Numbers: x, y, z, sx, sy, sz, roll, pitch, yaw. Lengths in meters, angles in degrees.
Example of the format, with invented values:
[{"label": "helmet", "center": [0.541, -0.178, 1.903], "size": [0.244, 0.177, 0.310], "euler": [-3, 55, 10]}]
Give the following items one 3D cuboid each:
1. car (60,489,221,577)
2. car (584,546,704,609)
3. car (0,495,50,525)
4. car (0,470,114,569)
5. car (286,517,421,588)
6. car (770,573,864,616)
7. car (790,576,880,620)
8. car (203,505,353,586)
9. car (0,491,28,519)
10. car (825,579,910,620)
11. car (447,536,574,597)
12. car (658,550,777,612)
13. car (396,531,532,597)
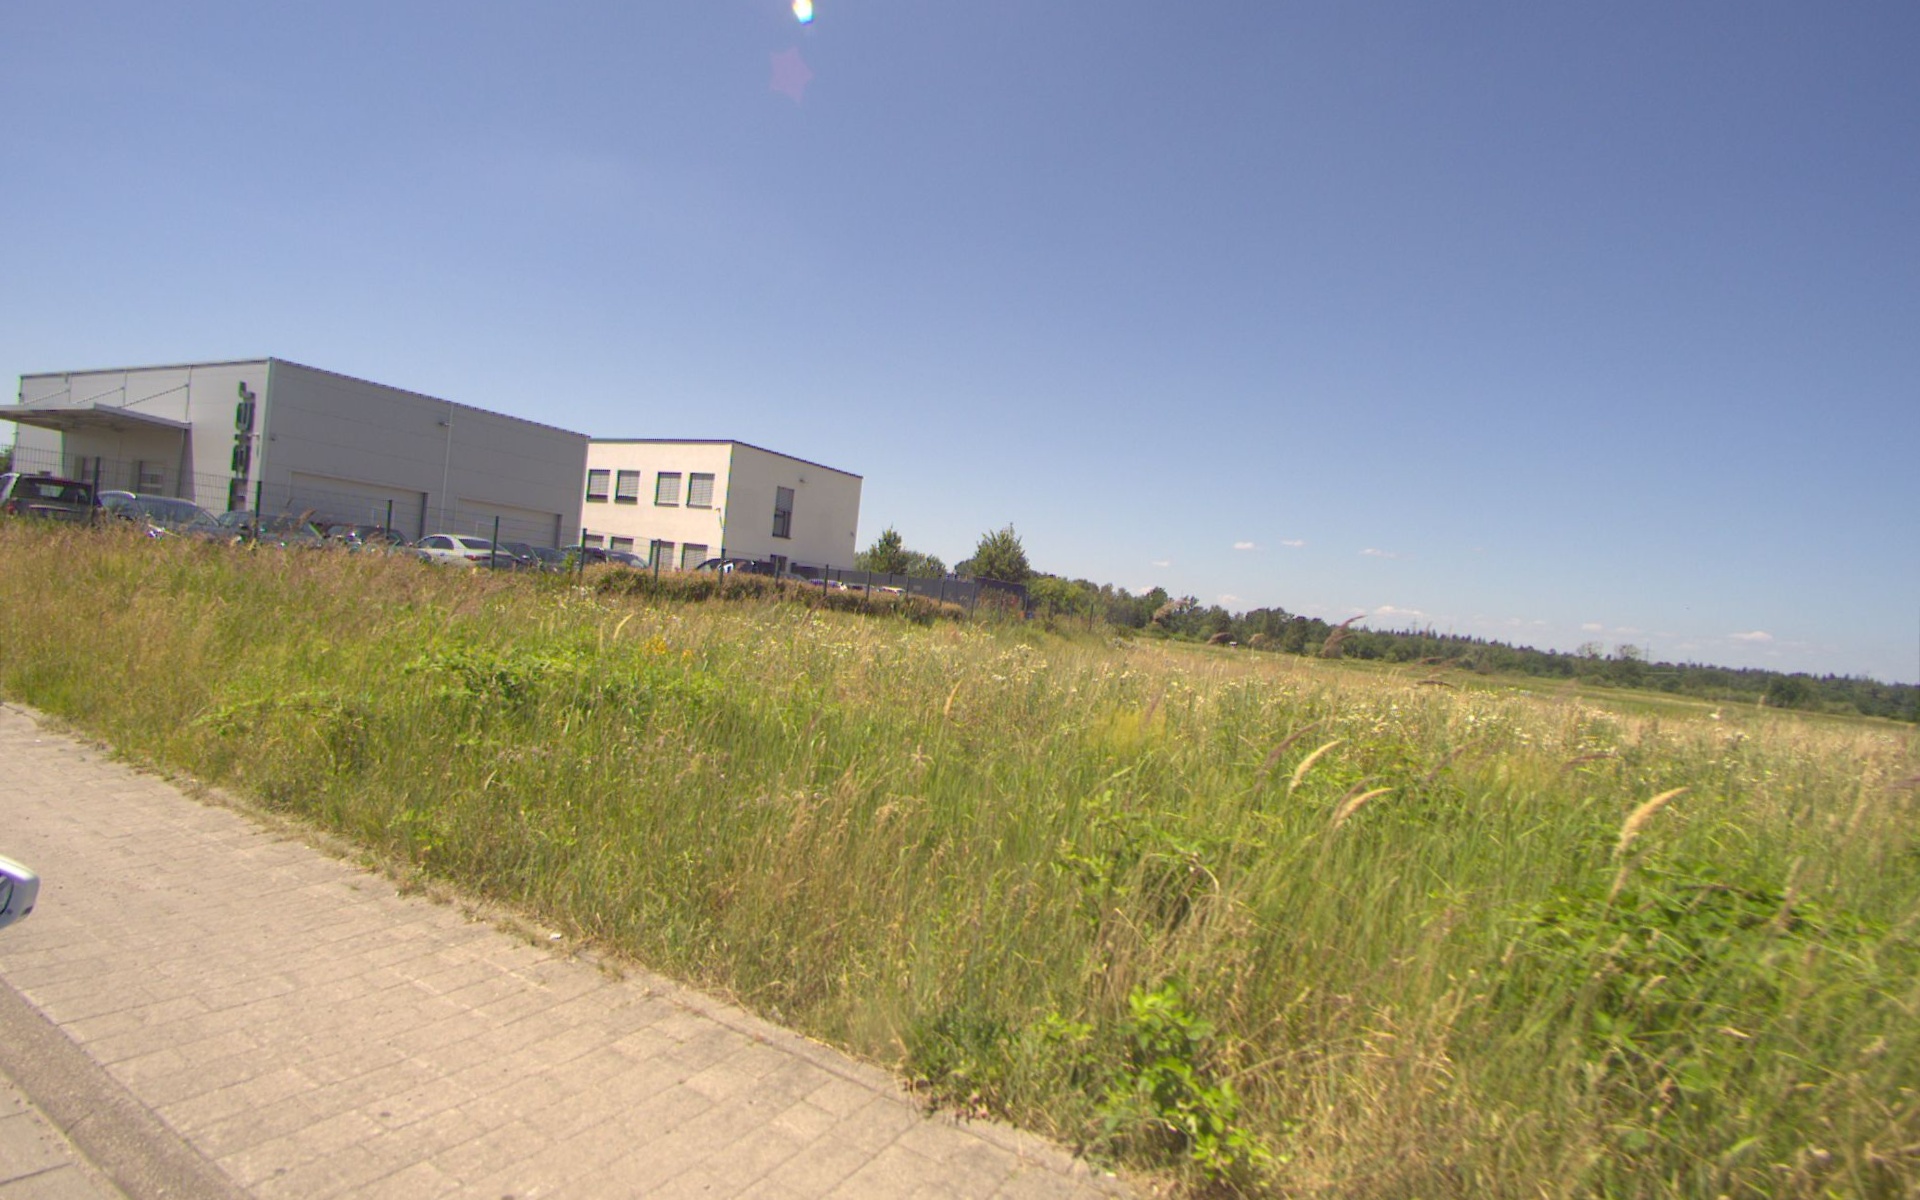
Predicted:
[{"label": "car", "center": [-17.412, -1.437, 21.356], "size": [3.276, 1.514, 1.516], "euler": [6, 0, 31]}, {"label": "car", "center": [-10.299, -0.740, 32.698], "size": [3.721, 1.654, 1.516], "euler": [6, 1, 31]}, {"label": "car", "center": [-53.379, -5.109, 55.731], "size": [1.788, 1.421, 3.990], "euler": [6, 0, 31]}, {"label": "car", "center": [-17.306, -1.523, 18.814], "size": [2.618, 1.594, 1.468], "euler": [6, 1, 32]}, {"label": "car", "center": [-15.245, -1.198, 25.260], "size": [3.276, 1.430, 1.458], "euler": [6, 1, 31]}, {"label": "car", "center": [-5.874, -0.220, 41.218], "size": [3.587, 1.366, 1.527], "euler": [6, 0, 31]}, {"label": "car", "center": [-5.456, -0.099, 43.881], "size": [3.587, 1.546, 1.527], "euler": [6, 1, 31]}, {"label": "car", "center": [-15.578, -1.246, 22.960], "size": [3.276, 1.515, 1.516], "euler": [6, 1, 31]}, {"label": "car", "center": [-55.725, -5.592, 57.021], "size": [1.738, 1.421, 3.874], "euler": [6, 0, 34]}, {"label": "car", "center": [-4.278, -0.023, 46.411], "size": [3.587, 1.546, 1.527], "euler": [6, 1, 31]}, {"label": "car", "center": [-13.391, -1.008, 29.937], "size": [3.721, 1.448, 1.516], "euler": [6, 1, 31]}, {"label": "car", "center": [-8.924, -0.707, 36.909], "size": [4.057, 1.870, 1.750], "euler": [6, 1, 31]}, {"label": "car", "center": [-13.229, -0.969, 26.771], "size": [3.481, 1.415, 1.516], "euler": [6, 1, 31]}]
